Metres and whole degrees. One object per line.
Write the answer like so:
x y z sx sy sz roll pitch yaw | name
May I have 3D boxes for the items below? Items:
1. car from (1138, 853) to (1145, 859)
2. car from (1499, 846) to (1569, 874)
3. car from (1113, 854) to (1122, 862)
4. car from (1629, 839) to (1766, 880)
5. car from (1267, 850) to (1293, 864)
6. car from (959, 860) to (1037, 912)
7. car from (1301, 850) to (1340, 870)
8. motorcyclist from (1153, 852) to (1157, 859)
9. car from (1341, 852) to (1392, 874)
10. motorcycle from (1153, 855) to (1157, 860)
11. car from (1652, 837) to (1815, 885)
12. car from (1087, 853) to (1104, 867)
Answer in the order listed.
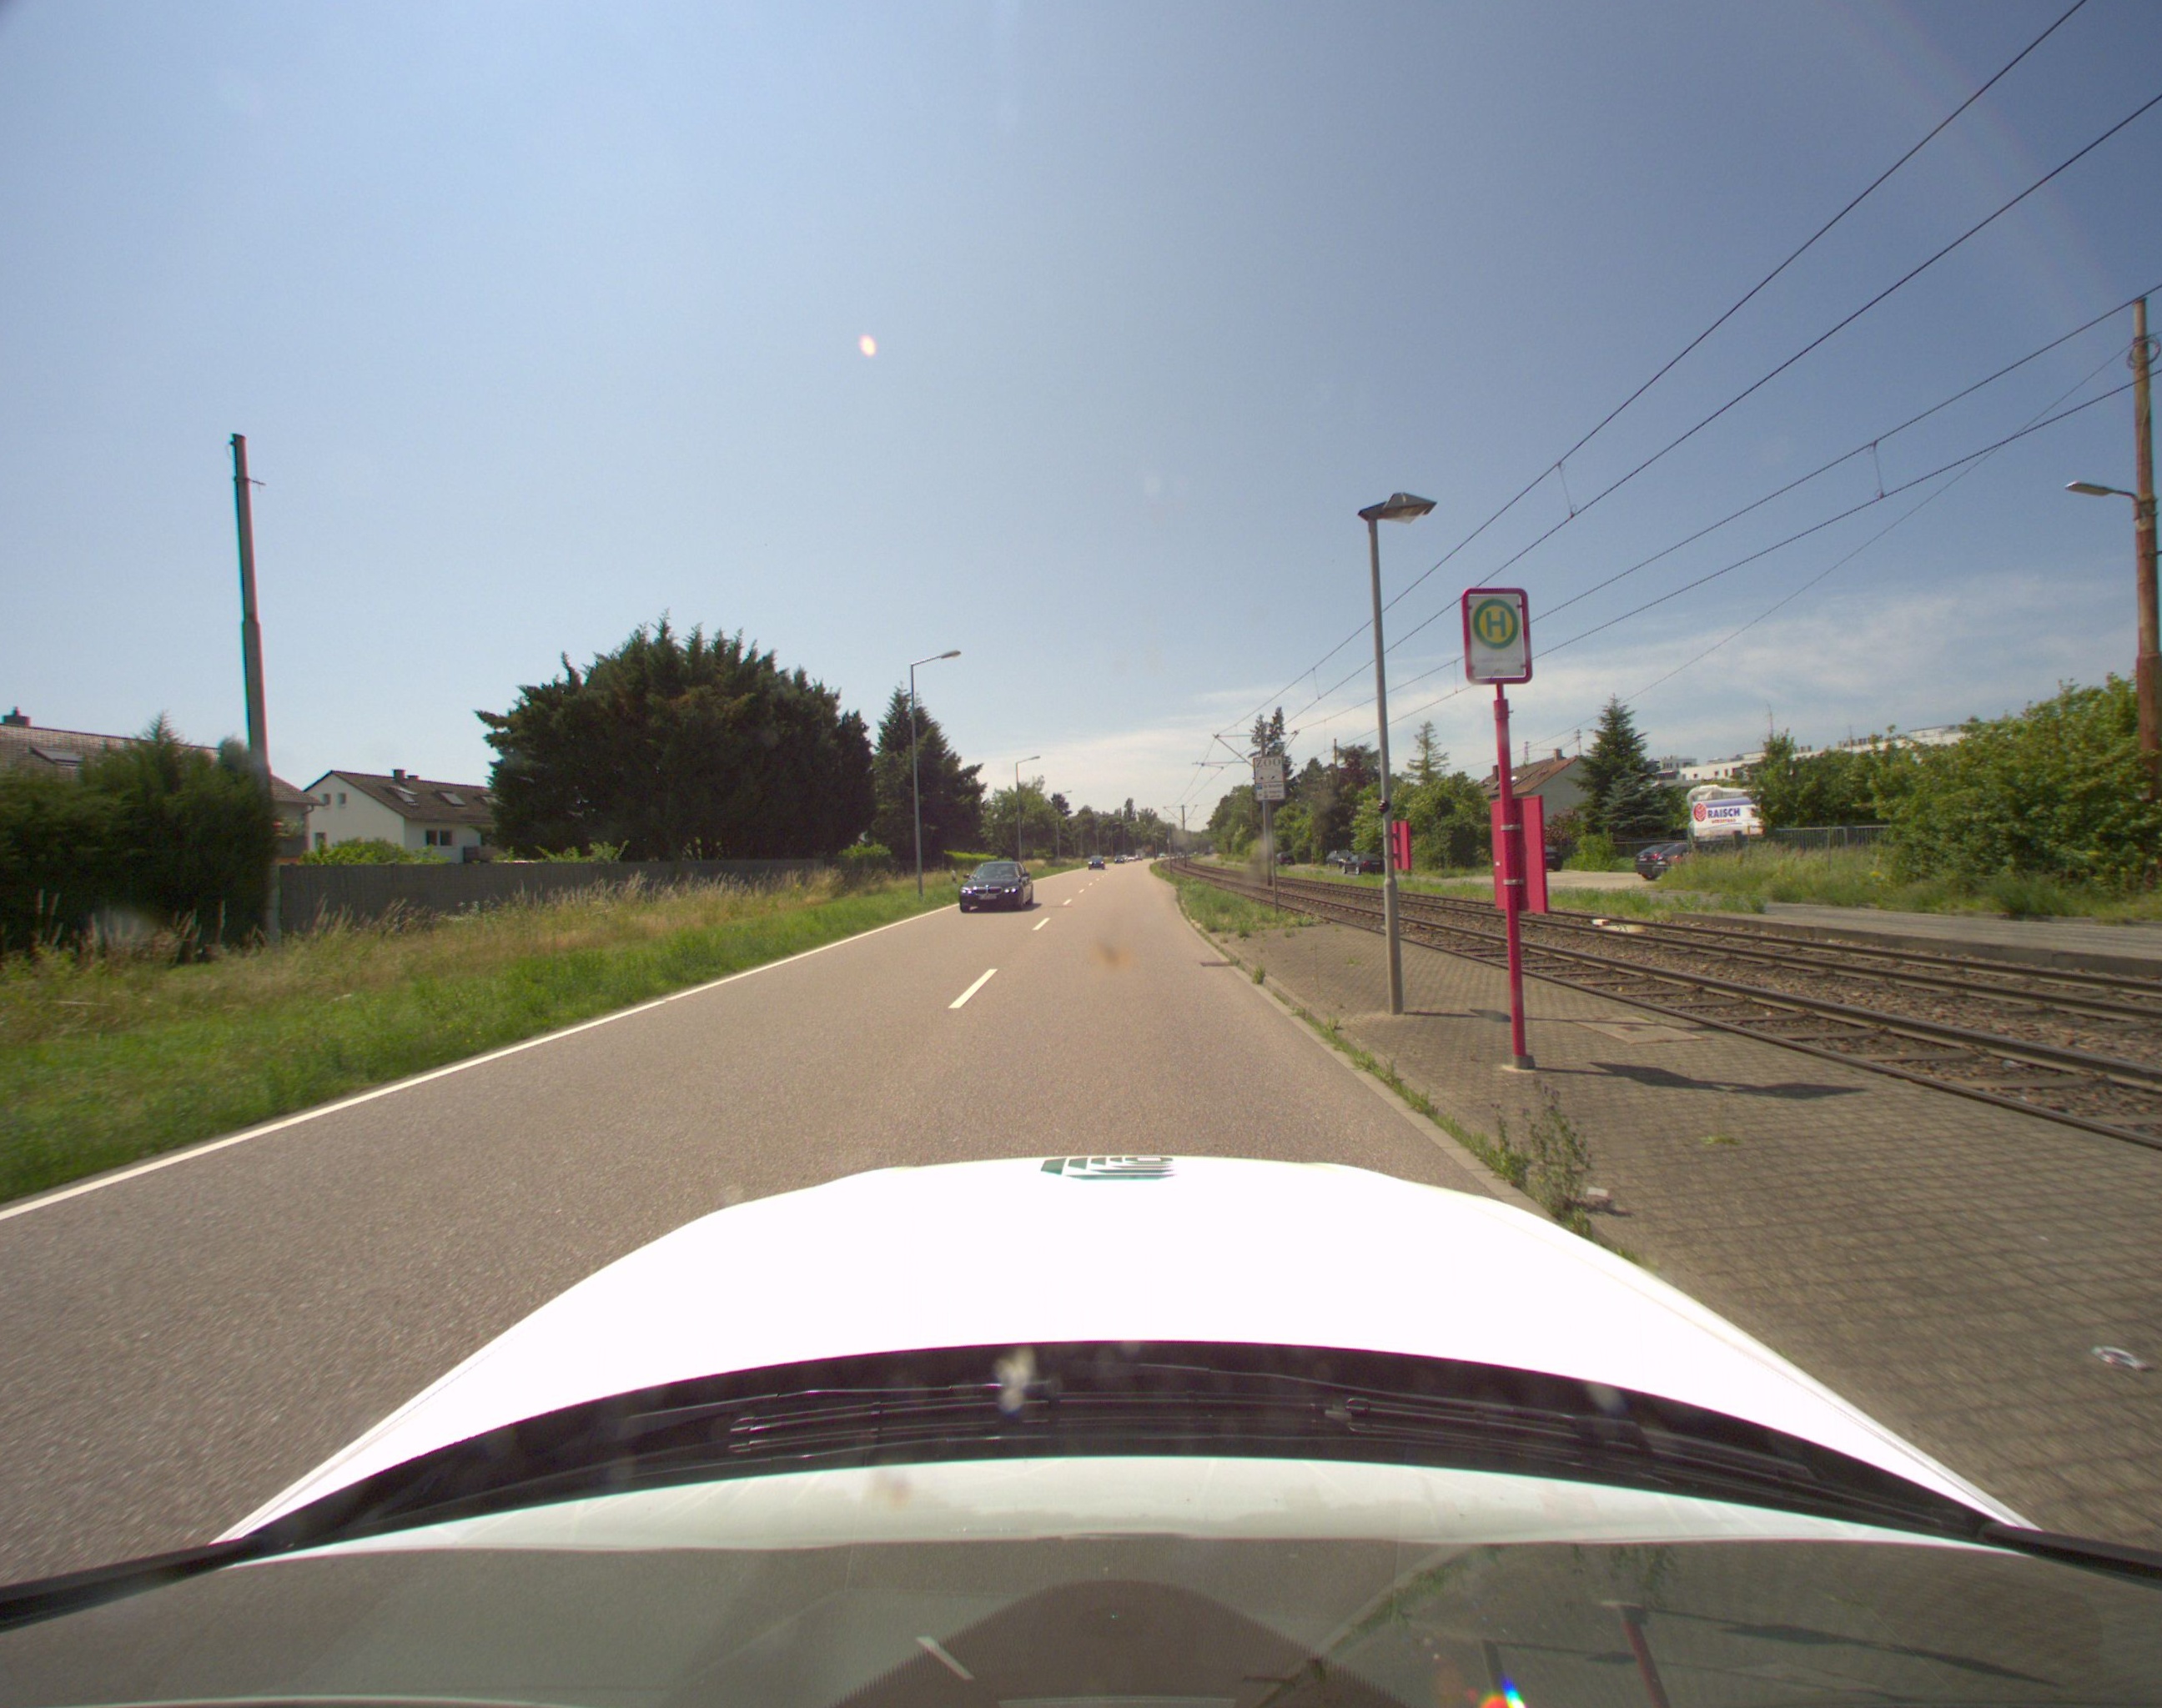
15.391 0.509 208.677 1.741 1.301 4.258 -1 0 5 | car
24.215 0.312 43.700 1.714 1.419 3.741 -1 0 1 | car
6.914 0.692 153.870 1.693 1.491 4.445 -1 0 4 | car
23.336 0.207 30.921 3.711 1.419 1.900 -1 0 3 | car
20.908 0.317 85.715 1.905 1.470 4.004 -1 0 4 | car
-2.447 0.921 25.167 1.699 1.404 4.710 -1 0 3 | car
19.566 0.465 66.753 1.927 1.561 4.558 -1 0 1 | car
19.652 0.304 215.662 0.886 1.905 1.018 -1 -1 8 | motorcyclist
18.398 0.560 52.693 1.854 1.330 4.516 -1 0 1 | car
19.613 0.884 215.581 0.964 1.117 2.739 -1 0 8 | motorcycle
22.409 0.253 28.119 3.964 1.517 1.903 -1 0 8 | car
1.740 0.682 95.255 1.739 1.632 4.033 -1 0 3 | car
